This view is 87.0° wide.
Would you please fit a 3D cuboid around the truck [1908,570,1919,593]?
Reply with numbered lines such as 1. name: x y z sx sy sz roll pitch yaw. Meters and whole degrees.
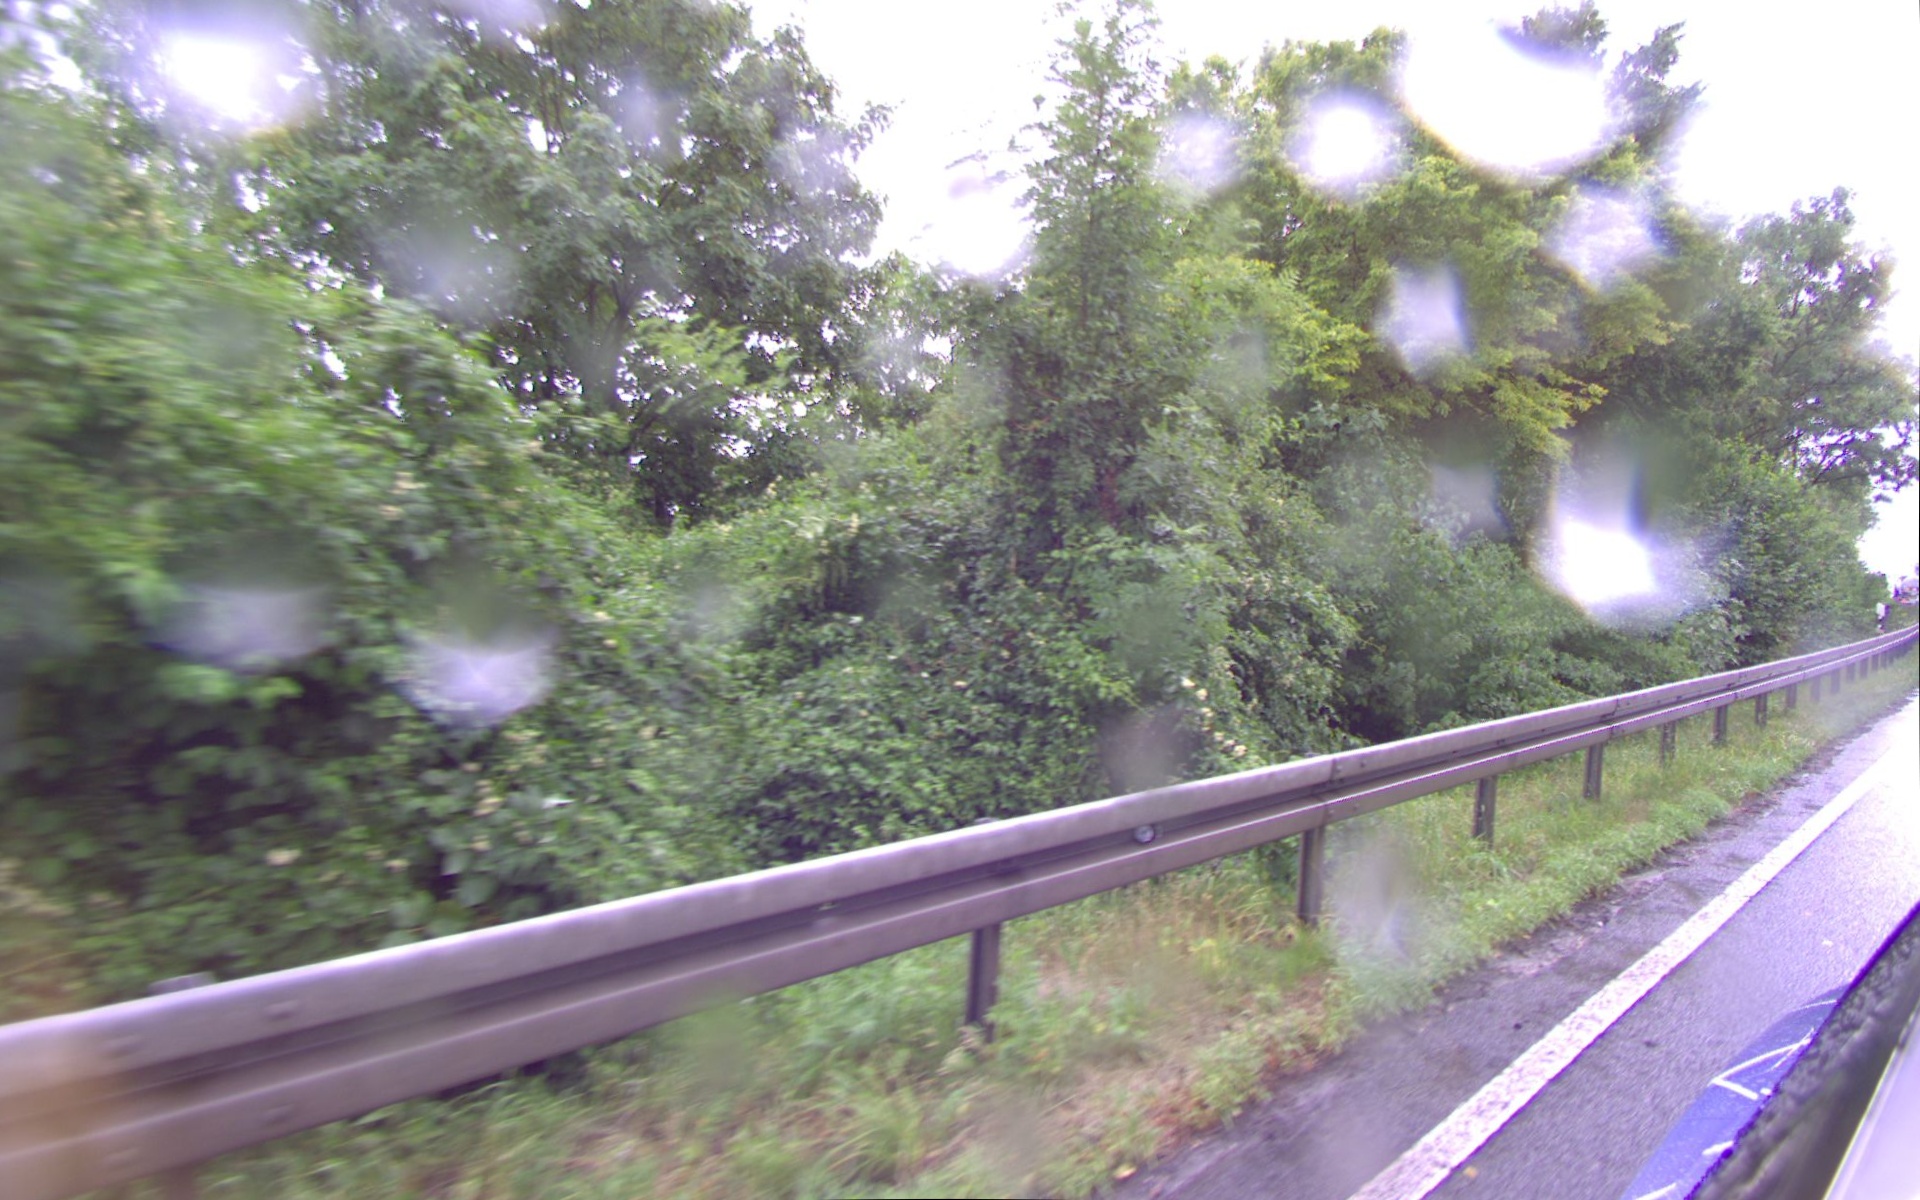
1. truck: 130.196 -2.489 136.633 2.417 3.037 6.855 0 1 36
